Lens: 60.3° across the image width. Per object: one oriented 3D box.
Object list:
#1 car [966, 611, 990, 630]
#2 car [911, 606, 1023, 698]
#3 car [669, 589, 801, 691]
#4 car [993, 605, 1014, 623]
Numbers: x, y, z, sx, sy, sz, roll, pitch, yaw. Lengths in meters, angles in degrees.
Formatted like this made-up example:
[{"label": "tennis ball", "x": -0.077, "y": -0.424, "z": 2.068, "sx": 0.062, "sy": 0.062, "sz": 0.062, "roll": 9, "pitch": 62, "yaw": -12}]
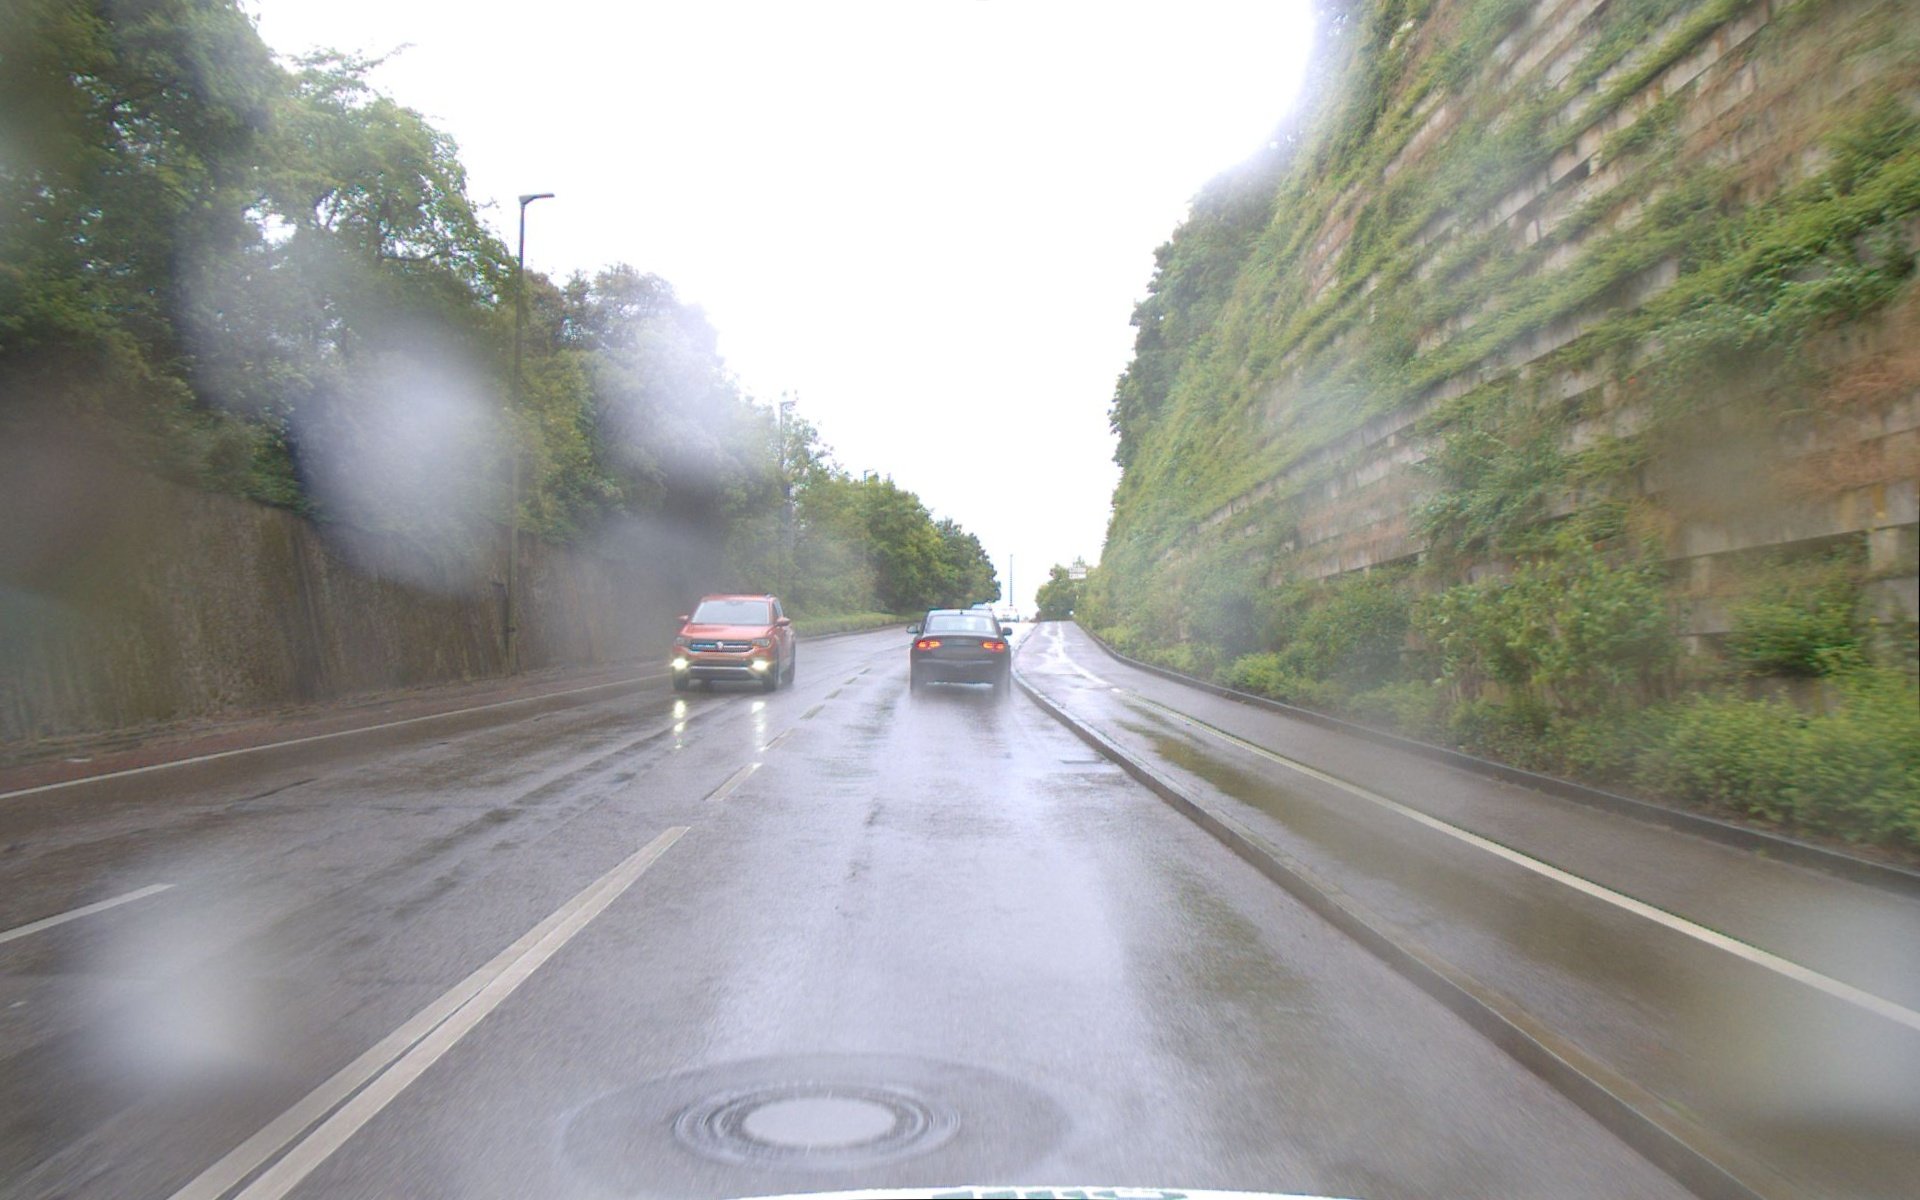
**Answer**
[{"label": "car", "x": 1.447, "y": 1.634, "z": 130.821, "sx": 1.826, "sy": 1.474, "sz": 4.378, "roll": 0, "pitch": -1, "yaw": 2}, {"label": "car", "x": 0.129, "y": 0.889, "z": 29.488, "sx": 1.854, "sy": 1.518, "sz": 4.207, "roll": 0, "pitch": -1, "yaw": 0}, {"label": "car", "x": -3.836, "y": 0.681, "z": 28.773, "sx": 1.697, "sy": 1.646, "sz": 4.000, "roll": 0, "pitch": -1, "yaw": 0}, {"label": "car", "x": 4.252, "y": 1.410, "z": 161.103, "sx": 1.784, "sy": 1.643, "sz": 4.095, "roll": -1, "pitch": -2, "yaw": 5}]
